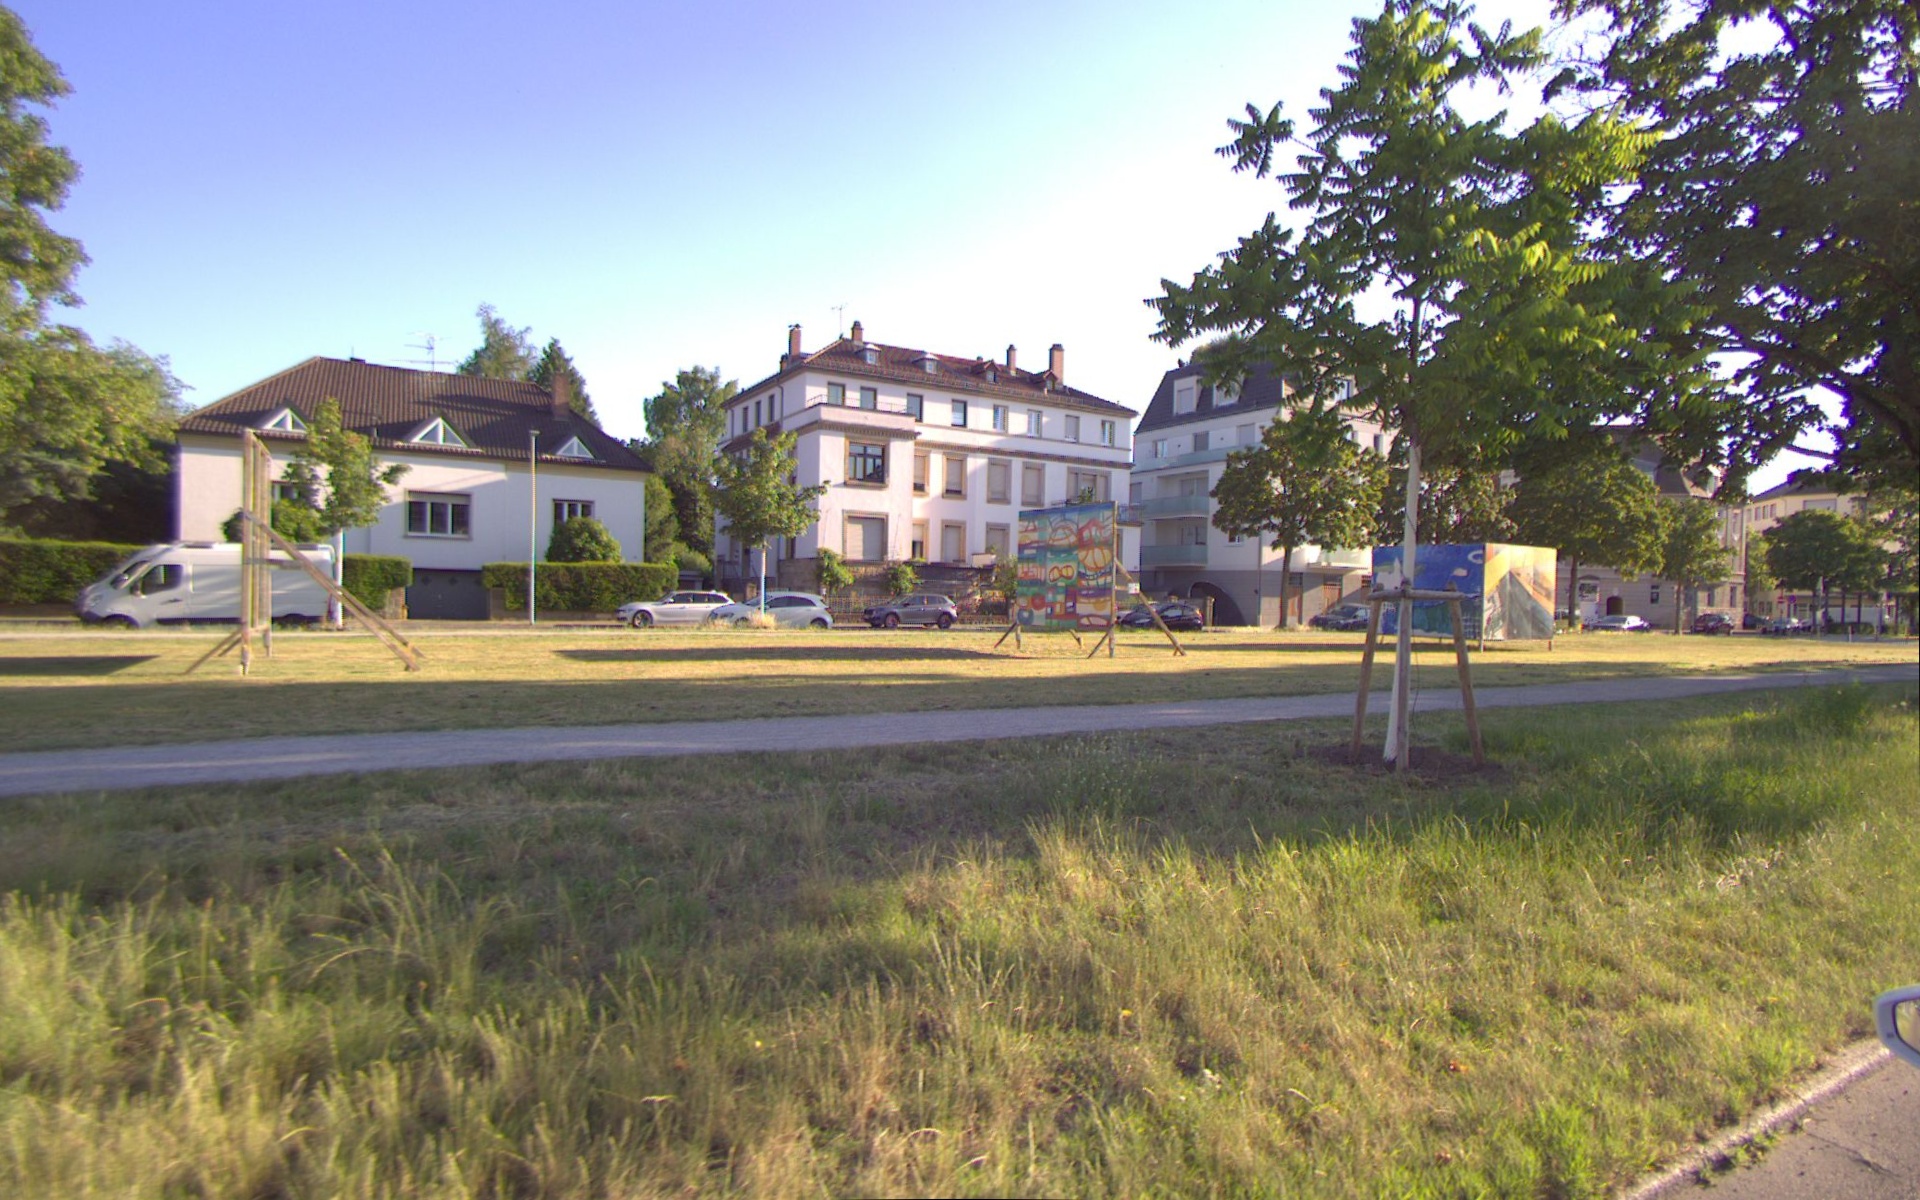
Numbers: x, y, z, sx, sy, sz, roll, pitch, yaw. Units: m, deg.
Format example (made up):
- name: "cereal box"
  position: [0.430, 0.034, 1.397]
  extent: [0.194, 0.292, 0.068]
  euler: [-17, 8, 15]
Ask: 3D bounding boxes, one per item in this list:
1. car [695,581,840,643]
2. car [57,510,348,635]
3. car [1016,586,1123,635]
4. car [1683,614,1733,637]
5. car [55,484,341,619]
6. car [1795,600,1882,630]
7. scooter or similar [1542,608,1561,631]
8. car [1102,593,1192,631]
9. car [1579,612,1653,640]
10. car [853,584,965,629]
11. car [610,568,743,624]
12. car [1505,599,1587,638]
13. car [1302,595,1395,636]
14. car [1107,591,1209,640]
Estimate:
- name: "car"
  position: [-6.637, 0.469, 34.835]
  extent: [4.587, 1.924, 1.825]
  euler: [3, -3, -30]
- name: "car"
  position: [-19.740, -0.591, 26.672]
  extent: [5.803, 2.862, 2.250]
  euler: [3, -3, -30]
- name: "car"
  position: [5.371, 0.552, 49.104]
  extent: [4.796, 2.158, 2.228]
  euler: [3, -3, -30]
- name: "car"
  position: [60.787, 2.112, 81.617]
  extent: [4.242, 1.729, 1.636]
  euler: [3, -3, -29]
- name: "car"
  position: [-23.332, -1.326, 31.282]
  extent: [6.687, 3.605, 2.293]
  euler: [3, -3, -31]
- name: "car"
  position: [88.165, 1.475, 100.896]
  extent: [6.202, 2.756, 1.999]
  euler: [2, 1, 30]
- name: "scooter or similar"
  position: [30.743, 1.001, 52.212]
  extent: [1.286, 1.142, 0.389]
  euler: [2, 2, -38]
- name: "car"
  position: [9.611, 0.657, 51.539]
  extent: [4.407, 1.767, 1.813]
  euler: [3, -3, -30]
- name: "car"
  position: [41.827, 1.674, 64.046]
  extent: [4.770, 1.658, 1.975]
  euler: [3, -3, -29]
- name: "car"
  position: [-2.221, 0.326, 44.135]
  extent: [4.613, 1.725, 1.773]
  euler: [3, -3, -31]
- name: "car"
  position: [-10.962, -0.097, 38.982]
  extent: [4.660, 1.878, 1.722]
  euler: [3, -3, -31]
- name: "car"
  position: [34.739, 1.131, 59.507]
  extent: [4.993, 2.084, 1.984]
  euler: [3, -3, -30]
- name: "car"
  position: [19.475, 0.796, 50.368]
  extent: [4.637, 1.852, 1.919]
  euler: [3, -3, -31]
- name: "car"
  position: [8.732, 0.733, 44.147]
  extent: [4.278, 1.941, 1.880]
  euler: [3, -3, -31]
